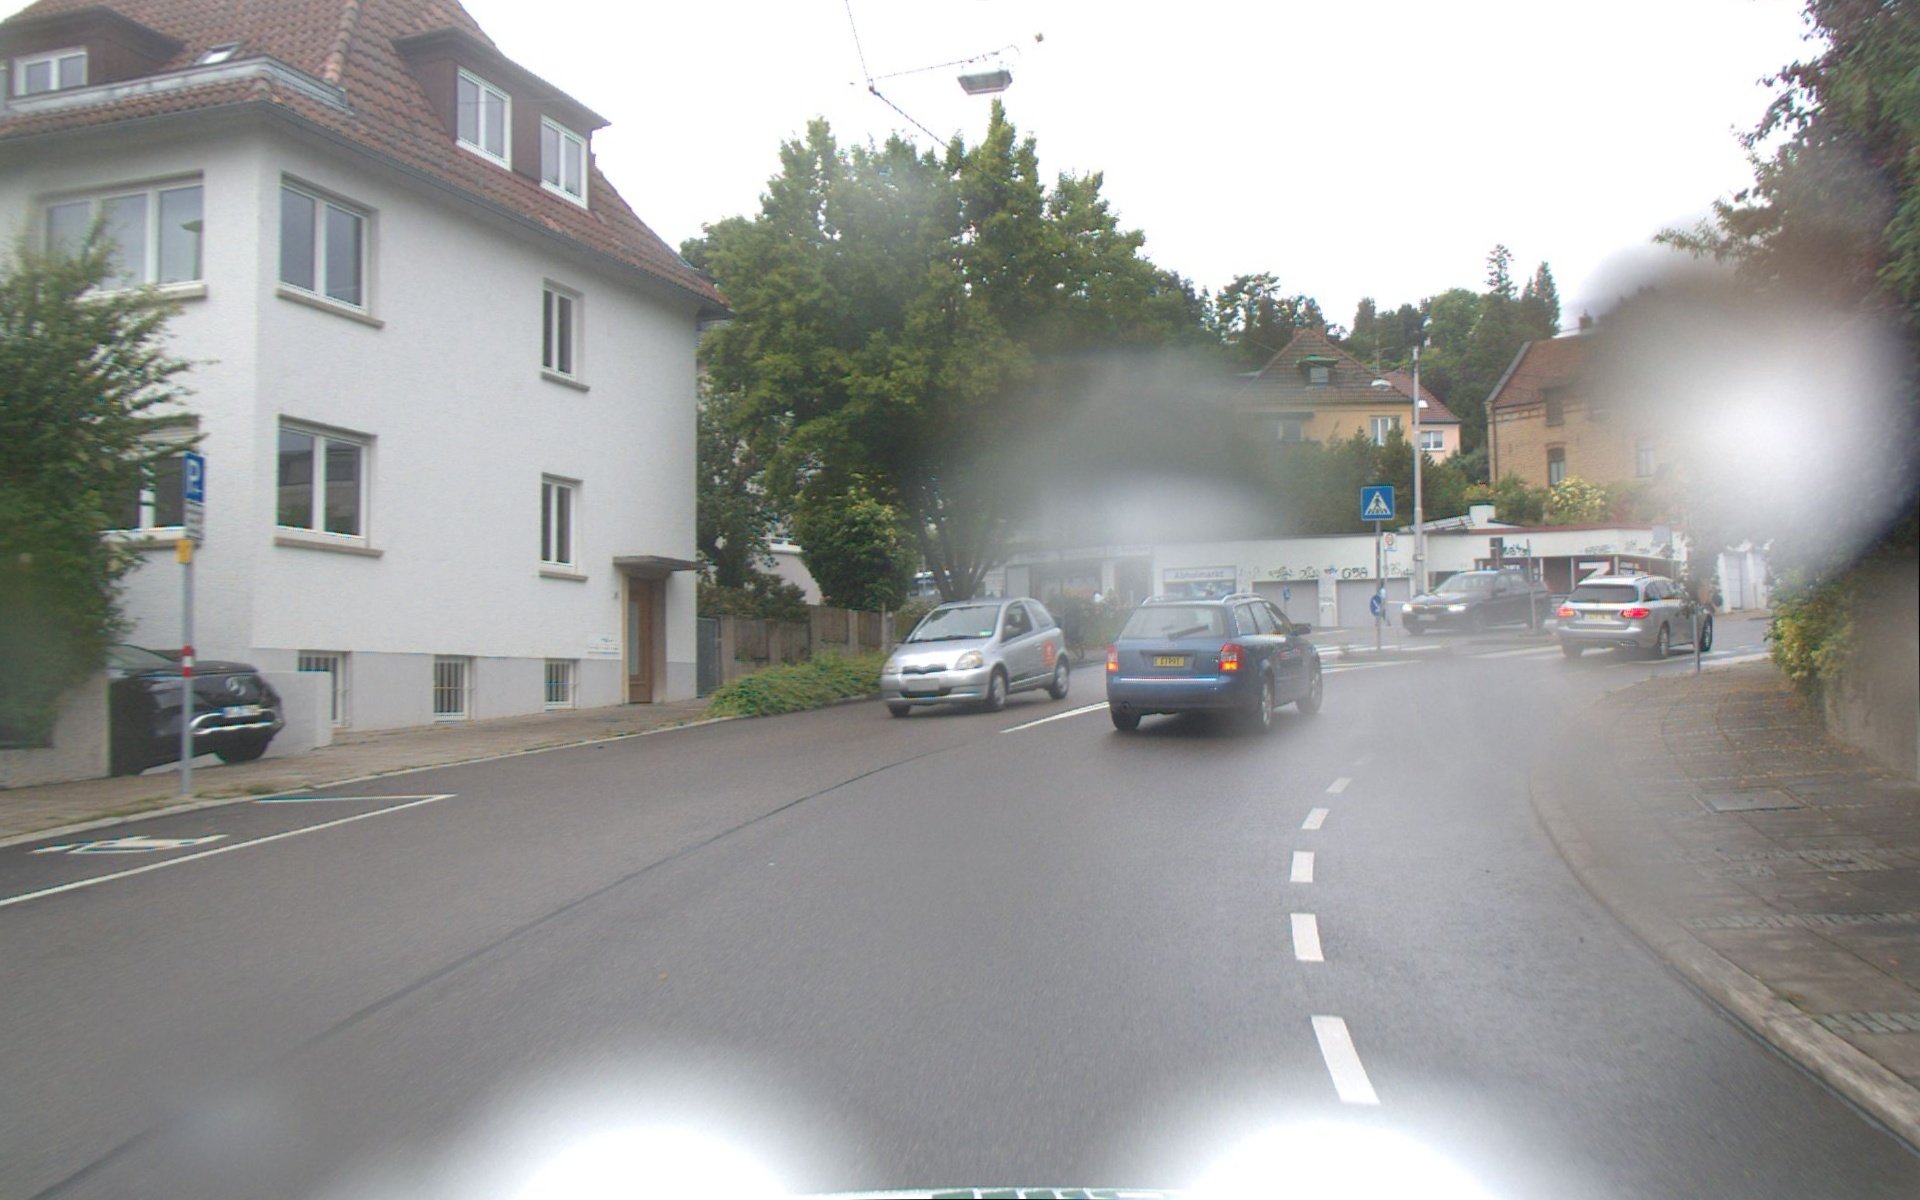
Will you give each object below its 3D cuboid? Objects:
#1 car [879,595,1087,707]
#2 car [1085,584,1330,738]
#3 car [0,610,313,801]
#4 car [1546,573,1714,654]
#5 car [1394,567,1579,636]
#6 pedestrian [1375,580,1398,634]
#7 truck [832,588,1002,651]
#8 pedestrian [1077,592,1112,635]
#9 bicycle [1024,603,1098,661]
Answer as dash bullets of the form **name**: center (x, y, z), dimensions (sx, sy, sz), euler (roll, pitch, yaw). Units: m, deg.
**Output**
- **car**: center (0.418, 0.678, 23.289), dimensions (1.457, 1.448, 3.854), euler (-2, -1, 25)
- **car**: center (2.925, 0.595, 18.771), dimensions (1.775, 1.464, 4.081), euler (0, 2, 23)
- **car**: center (-9.499, 1.219, 18.010), dimensions (4.154, 1.651, 2.000), euler (-9, -3, 19)
- **car**: center (12.366, 0.212, 30.417), dimensions (1.783, 1.384, 3.980), euler (0, 1, 39)
- **car**: center (12.914, 0.033, 40.486), dimensions (4.582, 1.518, 1.854), euler (0, -3, -34)
- **pedestrian**: center (14.744, 0.235, 57.191), dimensions (0.689, 1.837, 0.809), euler (-1, 0, 18)
- **truck**: center (-1.729, 0.693, 63.515), dimensions (6.680, 2.309, 2.303), euler (0, 0, 39)
- **pedestrian**: center (4.982, 0.491, 61.184), dimensions (0.961, 1.531, 0.885), euler (1, 2, 42)
- **bicycle**: center (2.173, 0.663, 35.417), dimensions (0.414, 1.104, 1.952), euler (-1, 2, 42)
